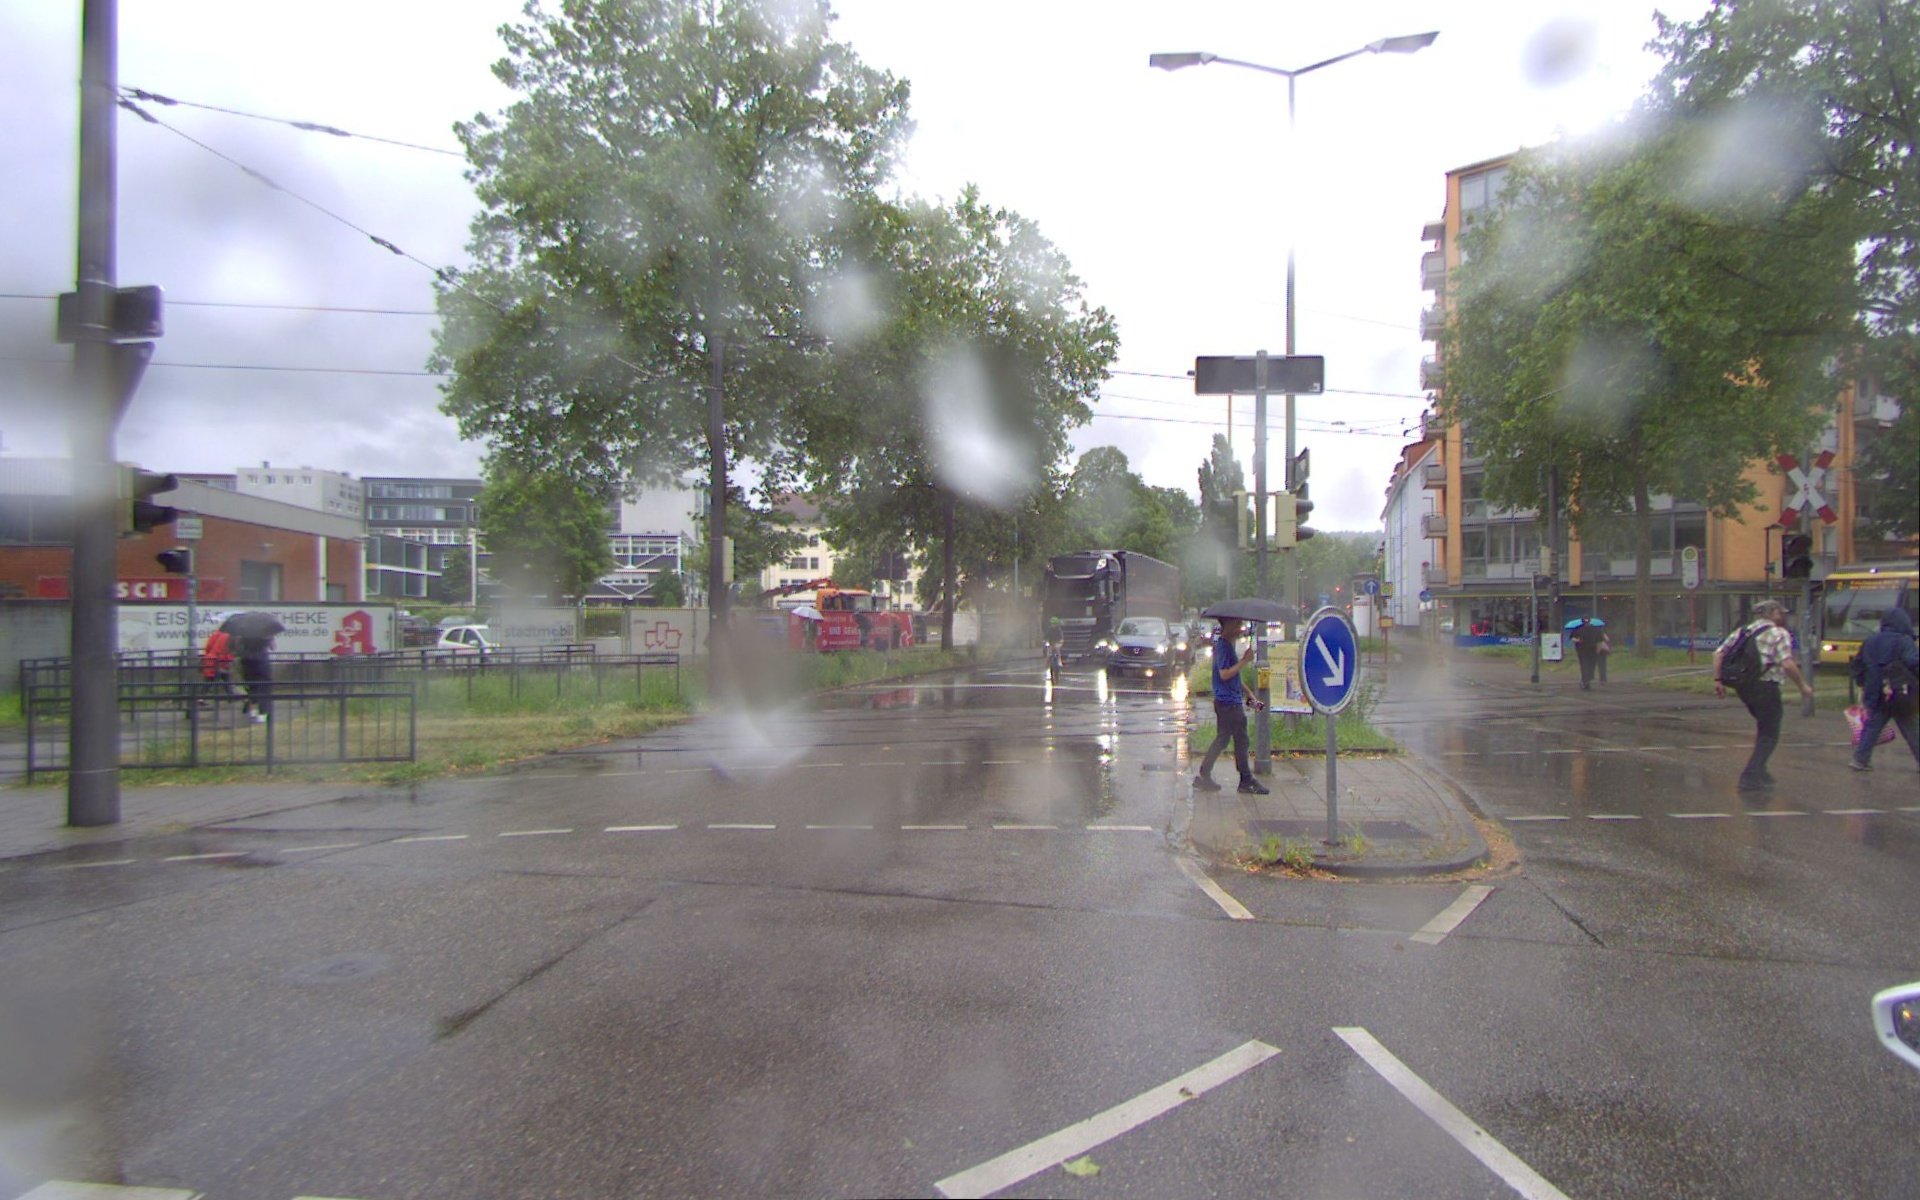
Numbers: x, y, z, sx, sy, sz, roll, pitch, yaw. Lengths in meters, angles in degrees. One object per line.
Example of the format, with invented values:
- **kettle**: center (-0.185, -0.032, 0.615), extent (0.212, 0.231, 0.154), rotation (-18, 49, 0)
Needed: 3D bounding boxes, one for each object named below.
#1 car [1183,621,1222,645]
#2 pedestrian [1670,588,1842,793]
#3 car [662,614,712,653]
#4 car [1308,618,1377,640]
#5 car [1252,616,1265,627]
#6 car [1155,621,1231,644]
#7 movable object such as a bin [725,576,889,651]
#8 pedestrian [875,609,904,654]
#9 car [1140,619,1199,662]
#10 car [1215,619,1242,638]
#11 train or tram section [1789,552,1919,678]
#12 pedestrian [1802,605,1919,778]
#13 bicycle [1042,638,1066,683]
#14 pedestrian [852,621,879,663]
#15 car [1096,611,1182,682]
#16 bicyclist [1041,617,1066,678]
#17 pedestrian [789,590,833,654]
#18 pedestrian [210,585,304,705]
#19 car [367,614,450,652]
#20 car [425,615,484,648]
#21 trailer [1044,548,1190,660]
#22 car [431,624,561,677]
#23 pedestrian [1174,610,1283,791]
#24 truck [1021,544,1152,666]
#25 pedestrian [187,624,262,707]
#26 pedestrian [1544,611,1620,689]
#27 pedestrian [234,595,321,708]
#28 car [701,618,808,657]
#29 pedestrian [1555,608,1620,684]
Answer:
- **car**: center (14.993, 2.030, 61.940), extent (1.699, 1.379, 4.336), rotation (-1, -1, 22)
- **pedestrian**: center (7.442, 0.809, 9.421), extent (0.977, 1.805, 0.810), rotation (-1, 0, -14)
- **car**: center (-14.081, 1.696, 52.051), extent (1.963, 1.816, 3.994), rotation (0, 0, -8)
- **car**: center (26.871, 2.033, 70.657), extent (4.459, 1.489, 1.983), rotation (-1, -1, 21)
- **car**: center (44.211, 3.140, 148.825), extent (1.745, 1.550, 4.002), rotation (0, 1, 14)
- **car**: center (15.672, 2.174, 67.758), extent (2.067, 1.473, 4.877), rotation (0, -1, -37)
- **movable object such as a bin**: center (-6.508, 0.554, 42.340), extent (6.660, 2.969, 2.769), rotation (0, 0, 31)
- **pedestrian**: center (-2.706, 1.188, 38.401), extent (0.896, 1.671, 0.749), rotation (0, -1, -25)
- **car**: center (7.547, 1.413, 35.937), extent (1.670, 1.391, 4.100), rotation (0, 0, 17)
- **car**: center (21.630, 2.290, 80.726), extent (1.745, 1.422, 4.831), rotation (0, -1, 19)
- **train or tram section**: center (28.768, 0.448, 30.207), extent (8.262, 3.414, 2.630), rotation (0, 0, -25)
- **pedestrian**: center (9.705, 0.914, 10.449), extent (1.035, 1.709, 0.996), rotation (-1, 0, 4)
- **bicycle**: center (2.357, 1.490, 25.066), extent (0.522, 1.038, 1.876), rotation (-1, -1, 7)
- **pedestrian**: center (-3.457, 1.526, 36.859), extent (0.634, 1.535, 0.767), rotation (-1, -1, 42)
- **car**: center (5.367, 1.275, 29.616), extent (2.038, 1.705, 4.931), rotation (2, 1, 15)
- **bicyclist**: center (2.338, 1.161, 25.031), extent (0.569, 1.480, 1.012), rotation (-1, -1, 7)
- **pedestrian**: center (-4.718, 0.691, 31.851), extent (0.894, 1.990, 1.214), rotation (-1, -1, 21)
- **pedestrian**: center (-11.476, 0.724, 16.426), extent (0.938, 1.887, 0.848), rotation (-1, 0, -7)
- **car**: center (-27.339, 1.595, 49.971), extent (2.130, 1.764, 4.798), rotation (0, 0, -9)
- **car**: center (-28.867, 1.757, 57.508), extent (1.966, 1.760, 4.890), rotation (0, 0, -14)
- **trailer**: center (7.406, 0.245, 44.315), extent (3.386, 4.103, 15.048), rotation (-1, -1, 21)
- **car**: center (-13.342, 1.395, 28.836), extent (3.604, 1.339, 1.838), rotation (0, 0, 35)
- **pedestrian**: center (2.462, 0.902, 9.291), extent (0.846, 1.602, 0.643), rotation (-1, 0, 4)
- **truck**: center (4.946, 0.195, 37.763), extent (3.393, 4.133, 6.973), rotation (0, 0, 20)
- **pedestrian**: center (-13.975, 1.226, 19.110), extent (0.813, 1.524, 0.848), rotation (-1, 0, -7)
- **pedestrian**: center (14.816, 1.179, 23.971), extent (1.018, 1.812, 1.236), rotation (0, 0, -3)
- **pedestrian**: center (-11.796, 0.880, 17.384), extent (0.938, 1.887, 0.848), rotation (-1, 0, -7)
- **car**: center (-7.713, 1.363, 37.607), extent (3.598, 1.339, 1.841), rotation (0, 0, 29)
- **pedestrian**: center (16.266, 1.163, 26.091), extent (1.151, 1.890, 1.385), rotation (0, 0, 19)
